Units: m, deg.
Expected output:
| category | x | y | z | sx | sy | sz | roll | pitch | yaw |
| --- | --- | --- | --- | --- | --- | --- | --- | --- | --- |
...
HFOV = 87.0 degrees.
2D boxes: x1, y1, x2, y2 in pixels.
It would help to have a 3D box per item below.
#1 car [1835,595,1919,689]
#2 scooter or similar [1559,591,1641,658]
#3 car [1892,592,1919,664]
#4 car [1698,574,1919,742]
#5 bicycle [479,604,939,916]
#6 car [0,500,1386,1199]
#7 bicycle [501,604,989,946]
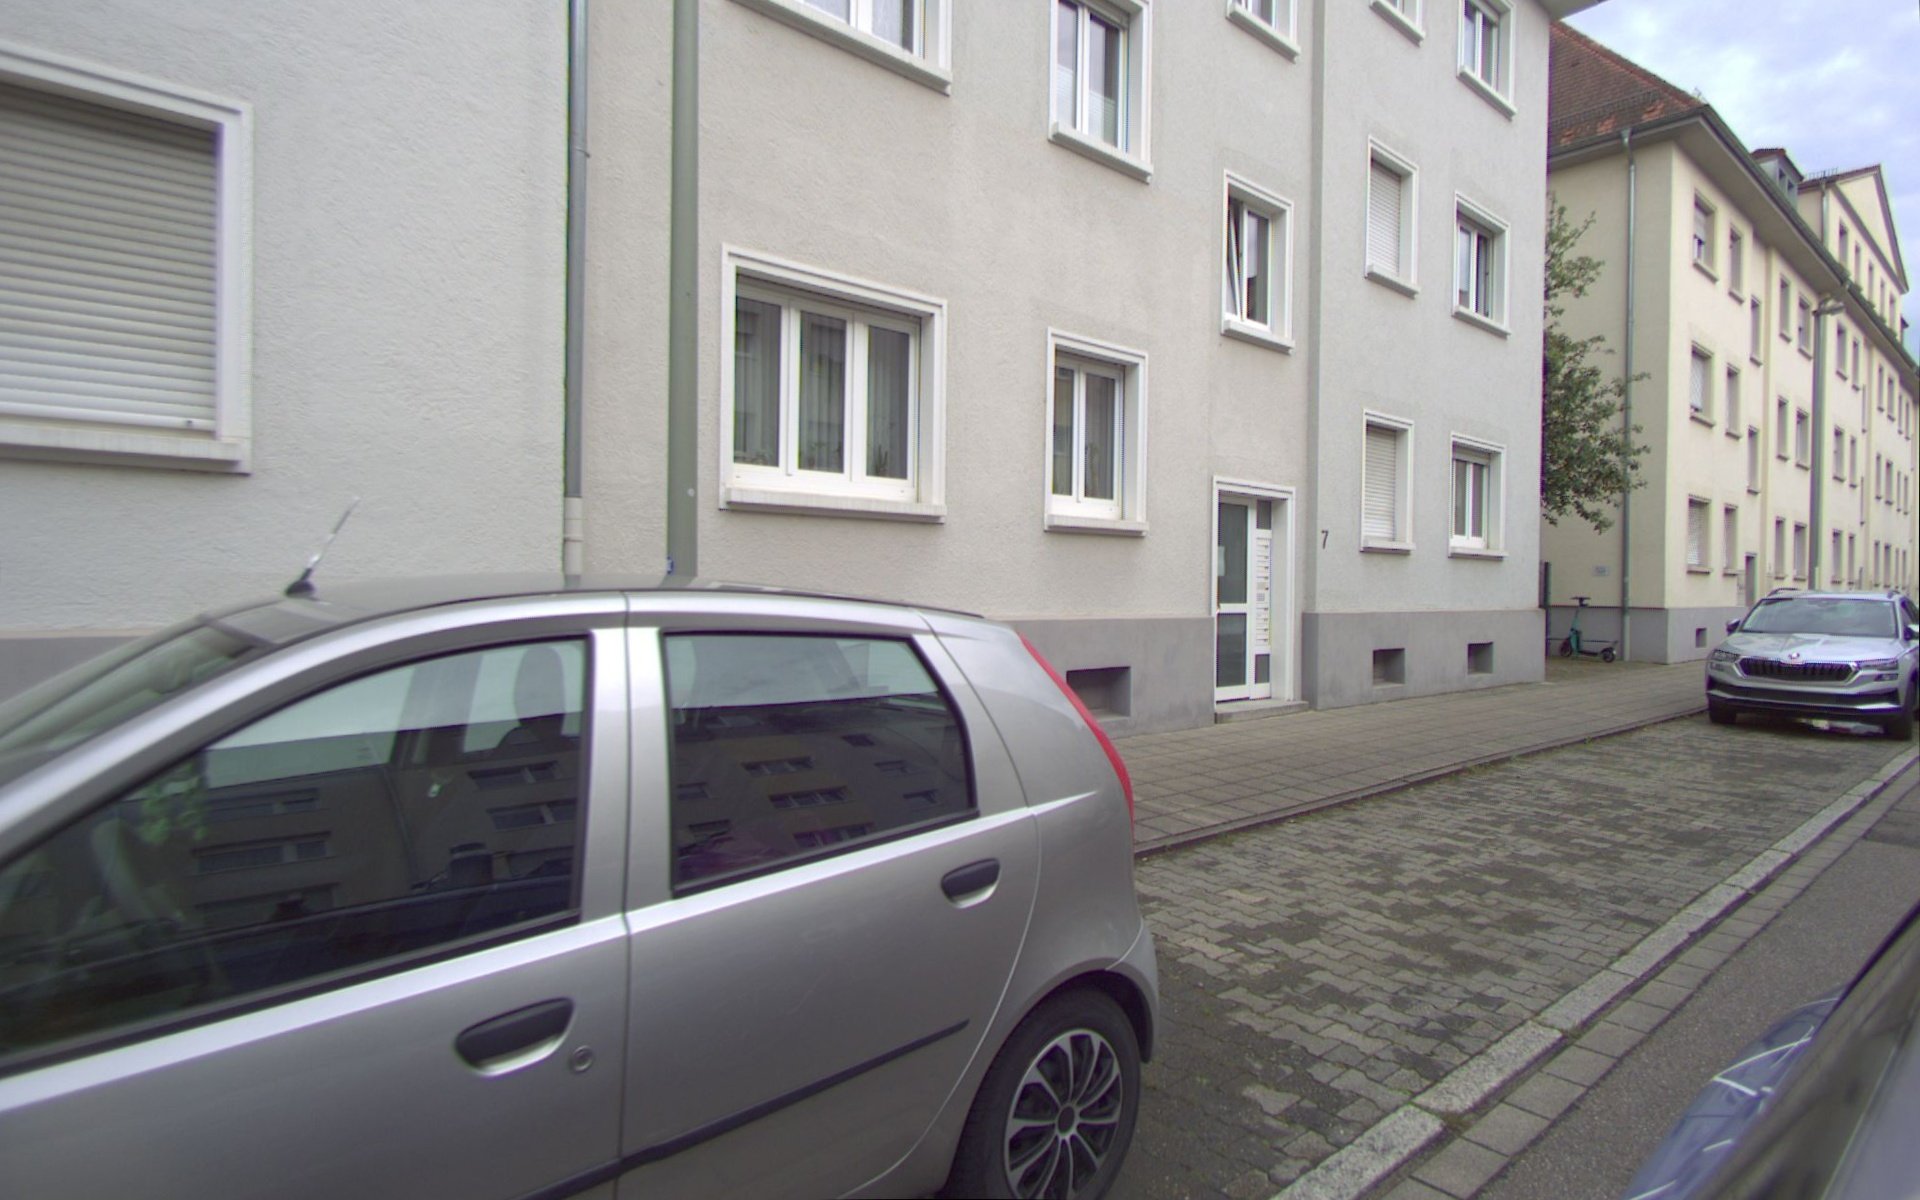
| category | x | y | z | sx | sy | sz | roll | pitch | yaw |
| --- | --- | --- | --- | --- | --- | --- | --- | --- | --- |
| car | 17.038 | 0.672 | 17.789 | 4.422 | 1.495 | 1.729 | 0 | 1 | -38 |
| scooter or similar | 12.569 | 0.462 | 19.920 | 0.512 | 1.261 | 1.284 | 1 | 1 | -24 |
| car | 21.467 | 0.571 | 21.810 | 3.801 | 1.495 | 1.605 | 0 | 0 | -41 |
| car | 10.565 | 0.558 | 12.145 | 4.018 | 1.663 | 1.824 | 0 | 1 | -40 |
| bicycle | -1.098 | 0.623 | 4.725 | 1.997 | 1.190 | 0.578 | 0 | 1 | -35 |
| car | -0.873 | 0.633 | 2.391 | 4.018 | 1.522 | 1.824 | 0 | 1 | -40 |
| bicycle | -0.847 | 0.624 | 4.368 | 1.997 | 1.190 | 0.532 | 0 | 1 | -35 |
